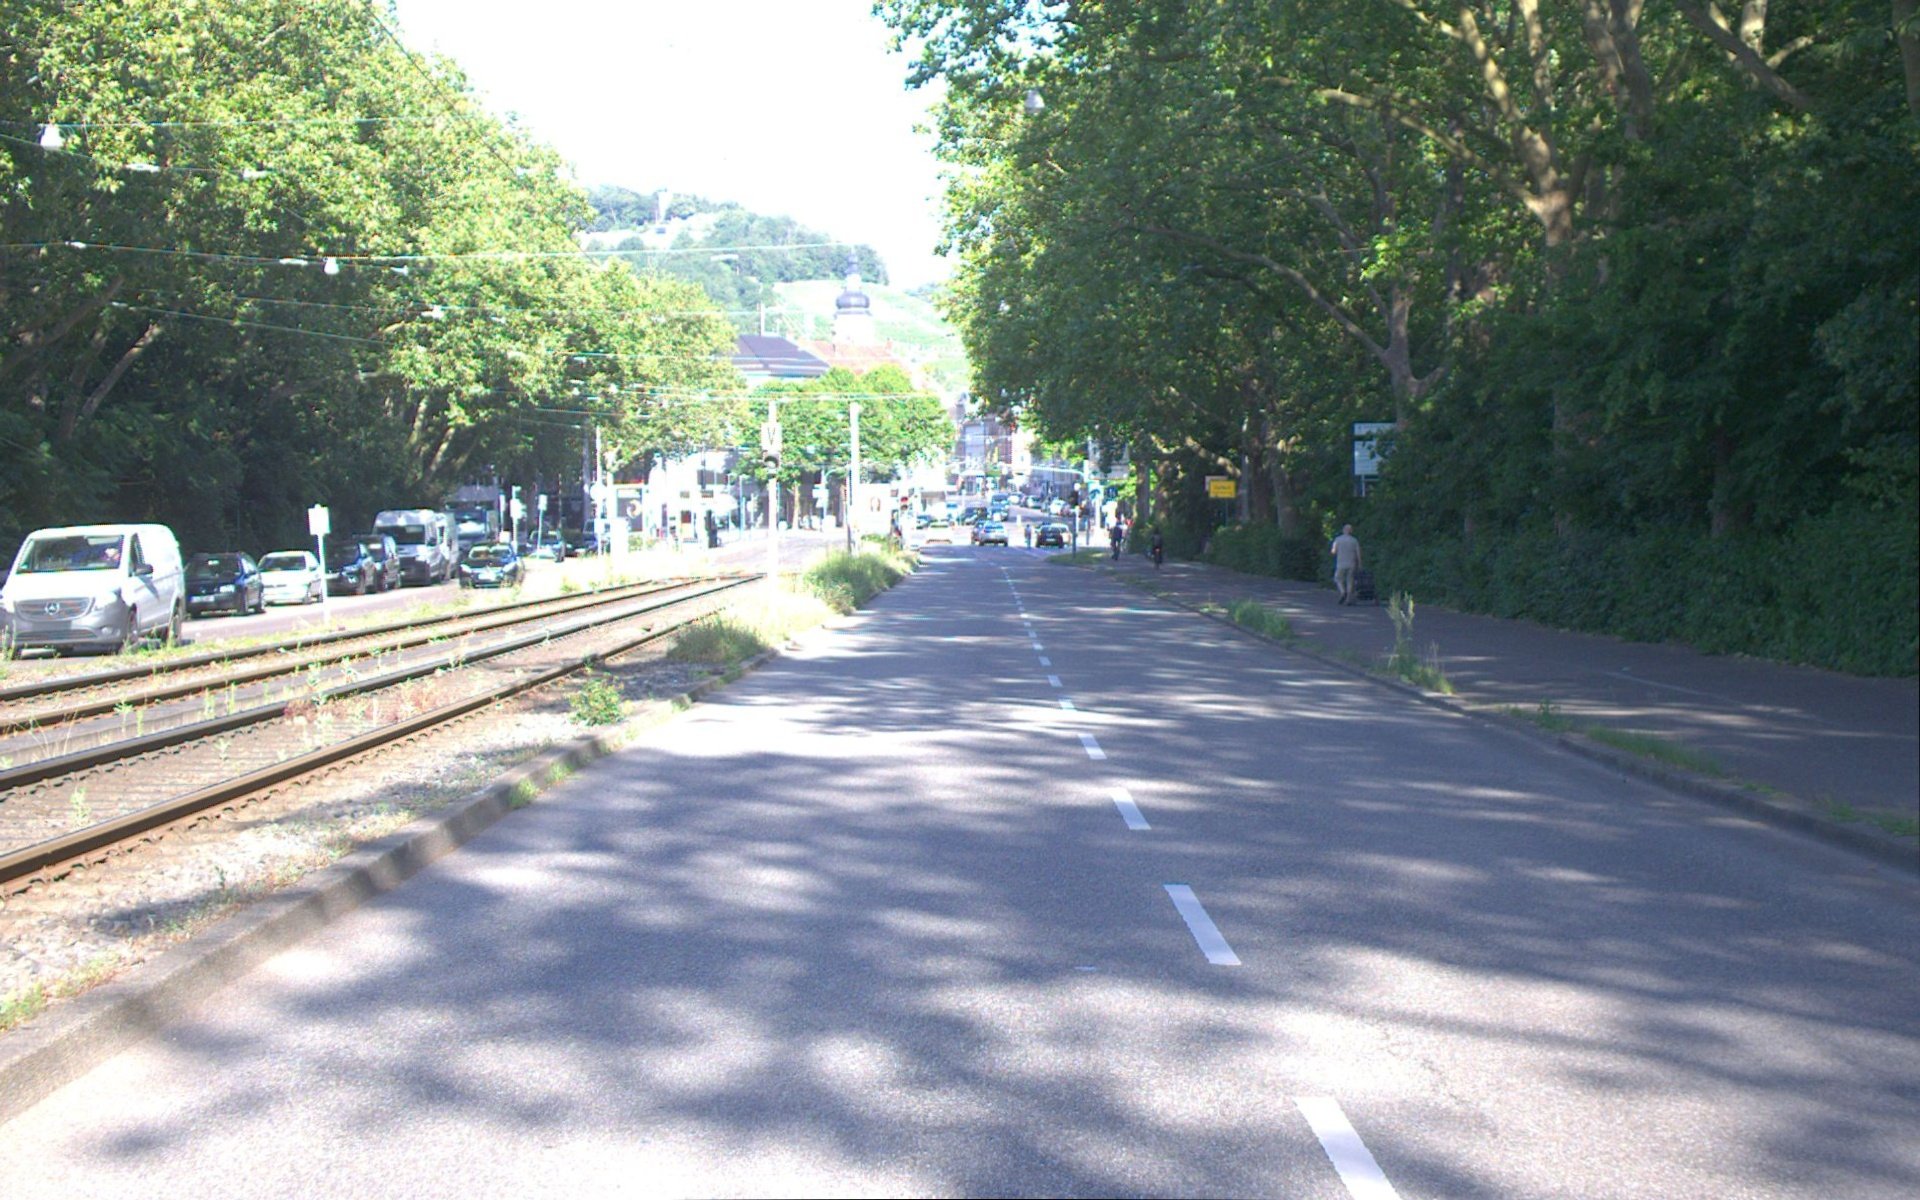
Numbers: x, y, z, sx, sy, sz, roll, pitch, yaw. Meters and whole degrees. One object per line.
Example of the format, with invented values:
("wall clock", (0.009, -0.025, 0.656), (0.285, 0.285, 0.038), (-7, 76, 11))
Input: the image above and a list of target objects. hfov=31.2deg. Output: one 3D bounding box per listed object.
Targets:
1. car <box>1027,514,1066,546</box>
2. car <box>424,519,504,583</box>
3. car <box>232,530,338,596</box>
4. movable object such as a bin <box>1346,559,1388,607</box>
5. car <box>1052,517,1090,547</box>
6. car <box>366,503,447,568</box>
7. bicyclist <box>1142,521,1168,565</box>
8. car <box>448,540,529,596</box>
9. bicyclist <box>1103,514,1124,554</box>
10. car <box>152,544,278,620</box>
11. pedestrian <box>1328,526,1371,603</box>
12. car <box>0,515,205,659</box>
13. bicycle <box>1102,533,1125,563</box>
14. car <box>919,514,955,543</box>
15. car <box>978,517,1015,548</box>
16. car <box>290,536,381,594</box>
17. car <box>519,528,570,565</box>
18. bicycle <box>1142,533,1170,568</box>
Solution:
("car", (5.560, -4.507, 221.893), (2.394, 1.993, 5.305), (-1, 1, 0))
("car", (-20.158, -2.005, 140.014), (2.394, 2.515, 5.900), (-1, 1, 0))
("car", (-17.951, -0.993, 91.590), (1.993, 1.691, 4.745), (-1, 1, -2))
("movable object such as a bin", (8.147, -0.351, 68.842), (0.804, 0.944, 0.656), (-1, 1, 4))
("car", (7.461, -4.555, 231.352), (2.394, 1.993, 5.305), (-1, 1, 0))
("car", (-18.907, -2.203, 117.654), (1.993, 2.156, 5.815), (-1, 1, -2))
("bicyclist", (7.297, -2.118, 128.377), (0.887, 1.633, 1.164), (-1, 1, 0))
("car", (-14.782, -1.026, 107.915), (1.993, 1.691, 4.745), (-1, 1, -2))
("bicyclist", (6.775, -2.901, 151.751), (0.887, 1.768, 1.222), (-1, 1, 0))
("car", (-17.288, -0.448, 79.987), (1.993, 1.691, 4.745), (-1, 1, -2))
("pedestrian", (7.876, -0.725, 69.531), (0.804, 1.540, 0.814), (-1, 1, 4))
("car", (-12.732, -0.229, 50.702), (1.993, 1.838, 5.302), (-6, 1, -2))
("bicycle", (6.765, -2.300, 151.964), (0.887, 1.316, 2.640), (-1, 1, 0))
("car", (-1.556, -4.917, 236.375), (2.394, 1.993, 5.305), (-1, 1, 0))
("car", (2.392, -4.459, 226.726), (2.394, 1.993, 5.305), (-1, 1, 0))
("car", (-18.689, -1.065, 103.078), (1.993, 1.691, 4.745), (-1, 1, -2))
("car", (-19.865, -2.576, 164.558), (1.993, 1.691, 4.745), (-1, 1, -2))
("bicycle", (7.293, -1.852, 128.284), (0.887, 1.316, 2.640), (-1, 1, 0))
